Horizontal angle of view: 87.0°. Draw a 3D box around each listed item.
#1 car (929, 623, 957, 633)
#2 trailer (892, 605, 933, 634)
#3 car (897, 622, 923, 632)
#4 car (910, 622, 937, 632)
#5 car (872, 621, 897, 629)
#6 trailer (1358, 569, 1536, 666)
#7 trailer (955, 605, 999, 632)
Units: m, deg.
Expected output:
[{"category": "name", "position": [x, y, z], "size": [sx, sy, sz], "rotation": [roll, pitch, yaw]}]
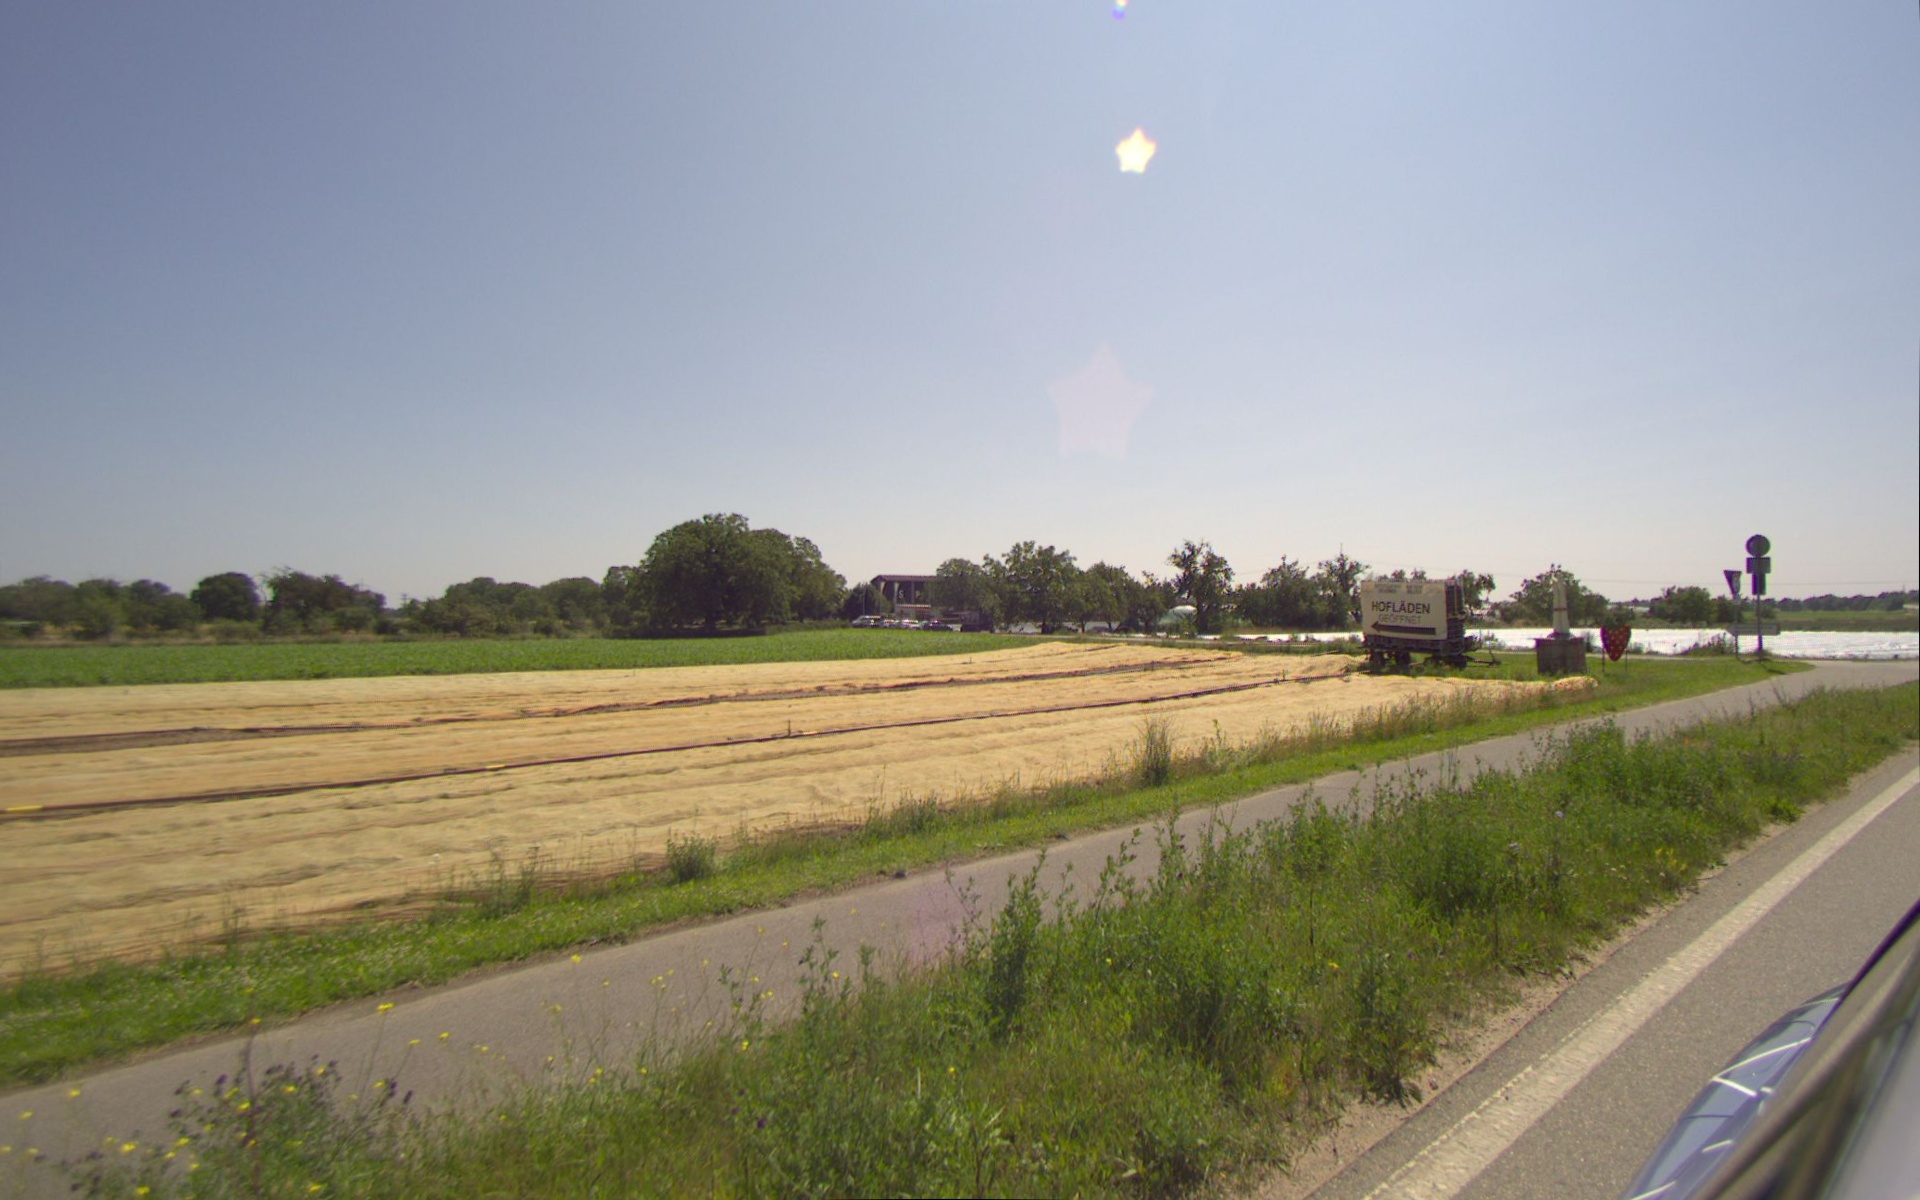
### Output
[{"category": "car", "position": [-2.121, 3.471, 127.383], "size": [3.213, 1.213, 1.297], "rotation": [0, -1, -28]}, {"category": "trailer", "position": [-7.330, 3.009, 155.636], "size": [3.095, 4.276, 7.444], "rotation": [0, -2, -32]}, {"category": "car", "position": [-6.565, 3.508, 132.246], "size": [3.213, 1.213, 1.297], "rotation": [0, -1, -28]}, {"category": "car", "position": [-4.741, 3.494, 130.039], "size": [3.213, 1.213, 1.297], "rotation": [0, -1, -28]}, {"category": "car", "position": [-10.721, 3.560, 143.705], "size": [3.213, 1.213, 1.297], "rotation": [0, -1, -28]}, {"category": "trailer", "position": [16.247, 0.541, 34.131], "size": [1.959, 2.989, 5.304], "rotation": [-2, 0, -24]}, {"category": "trailer", "position": [2.132, 2.369, 129.129], "size": [3.191, 3.336, 7.454], "rotation": [-1, -1, -19]}]
